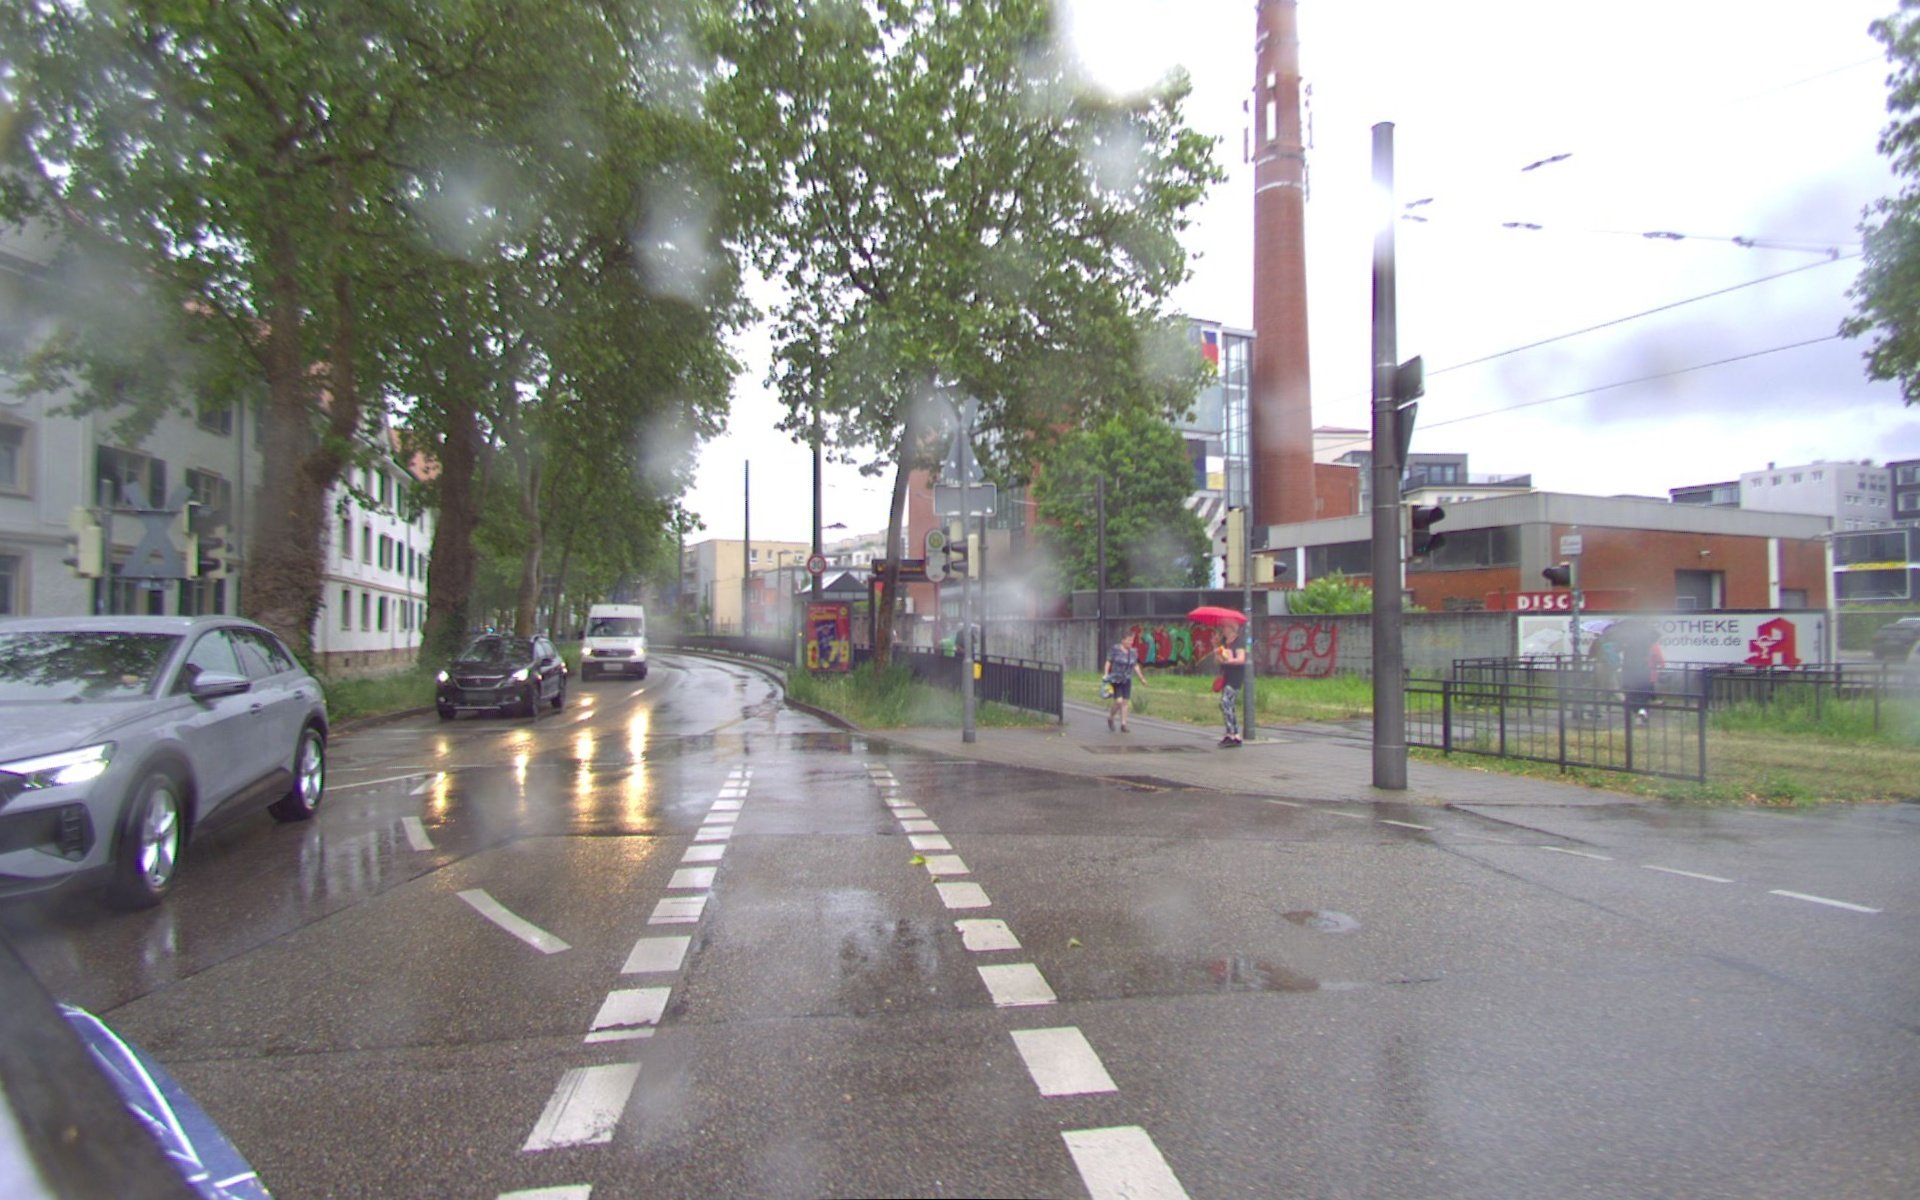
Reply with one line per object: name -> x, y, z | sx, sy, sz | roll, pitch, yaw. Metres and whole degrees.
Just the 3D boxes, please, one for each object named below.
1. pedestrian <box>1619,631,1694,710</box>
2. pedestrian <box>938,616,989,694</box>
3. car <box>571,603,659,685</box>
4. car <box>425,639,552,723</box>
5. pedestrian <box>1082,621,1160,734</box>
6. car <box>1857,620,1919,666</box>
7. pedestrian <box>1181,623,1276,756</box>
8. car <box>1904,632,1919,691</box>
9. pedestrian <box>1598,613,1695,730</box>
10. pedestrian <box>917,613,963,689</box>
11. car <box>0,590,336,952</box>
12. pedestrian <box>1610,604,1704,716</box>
pedestrian -> 13.772, 1.375, 20.030 | 0.834, 1.516, 0.831 | 0, -3, -21
pedestrian -> 0.069, 1.214, 22.671 | 0.845, 1.701, 0.852 | 0, -3, -23
car -> -11.935, 1.488, 35.460 | 2.246, 2.582, 6.527 | 0, -2, -13
car -> -9.145, 1.519, 19.923 | 1.822, 1.455, 4.012 | 0, -3, -18
pedestrian -> 2.515, 1.193, 15.904 | 0.845, 1.701, 0.852 | 0, -3, -23
car -> 38.883, 1.693, 40.869 | 4.722, 1.755, 2.177 | 0, -2, -24
pedestrian -> 3.601, 1.177, 13.616 | 0.834, 1.701, 0.863 | 0, -3, -21
car -> 22.454, 1.374, 21.709 | 1.829, 1.331, 3.642 | -1, -1, 19
pedestrian -> 11.445, 1.179, 16.904 | 0.834, 1.877, 0.959 | 0, -3, -21
pedestrian -> -0.497, 1.258, 25.091 | 0.845, 1.846, 0.852 | 0, -4, -23
car -> -5.542, 0.873, 6.379 | 1.779, 1.633, 4.149 | 0, -3, -18
pedestrian -> 12.041, 1.026, 17.510 | 0.834, 1.877, 0.959 | 0, -3, -21
